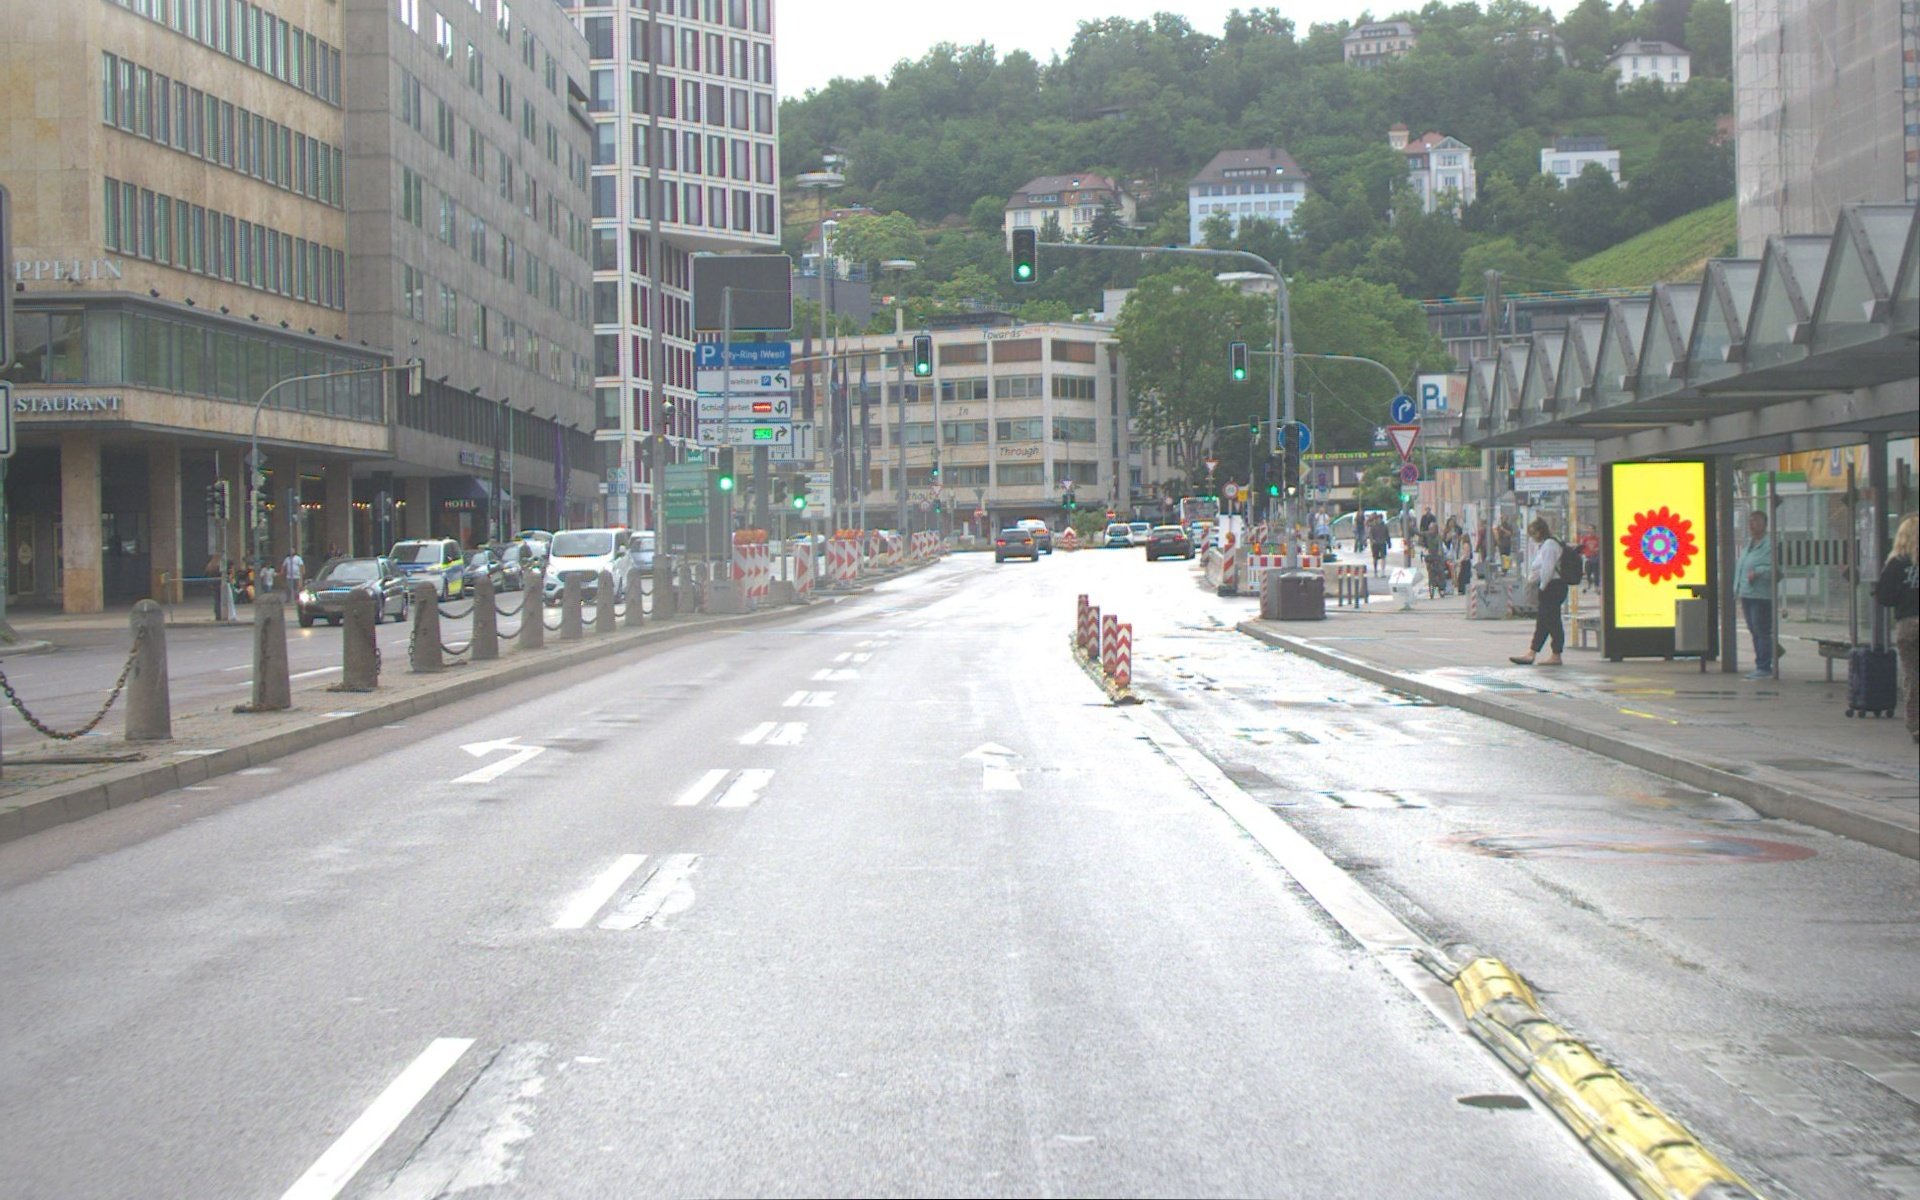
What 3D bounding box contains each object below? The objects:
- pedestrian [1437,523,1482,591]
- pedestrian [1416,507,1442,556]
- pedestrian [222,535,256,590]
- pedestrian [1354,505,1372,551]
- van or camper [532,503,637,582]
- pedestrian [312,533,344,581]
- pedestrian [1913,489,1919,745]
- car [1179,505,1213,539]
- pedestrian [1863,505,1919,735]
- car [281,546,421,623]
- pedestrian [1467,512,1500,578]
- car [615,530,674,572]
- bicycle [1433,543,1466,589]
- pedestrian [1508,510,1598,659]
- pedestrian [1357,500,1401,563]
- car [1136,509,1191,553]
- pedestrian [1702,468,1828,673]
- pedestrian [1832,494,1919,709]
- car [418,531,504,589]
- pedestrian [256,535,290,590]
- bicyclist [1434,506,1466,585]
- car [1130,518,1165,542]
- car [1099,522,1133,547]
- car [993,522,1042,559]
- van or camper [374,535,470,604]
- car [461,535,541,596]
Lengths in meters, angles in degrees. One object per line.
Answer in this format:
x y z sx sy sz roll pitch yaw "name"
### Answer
12.064 -1.040 82.982 0.796 1.602 0.834 -1 1 31 "pedestrian"
17.731 -2.599 129.990 0.946 1.835 0.867 -1 1 8 "pedestrian"
-20.788 -1.078 99.192 0.721 1.552 0.905 -1 1 3 "pedestrian"
16.210 -2.909 138.129 0.688 1.835 0.614 -1 1 7 "pedestrian"
-9.950 -1.515 91.451 1.994 2.007 5.189 0 1 2 "van or camper"
-20.471 -1.397 111.310 0.795 1.521 0.916 -1 1 4 "pedestrian"
6.713 0.111 22.391 0.762 1.687 0.822 -1 1 -1 "pedestrian"
13.161 -4.333 192.104 1.776 1.634 3.999 -2 -2 3 "car"
6.600 0.125 23.734 0.521 1.560 0.729 -1 1 -1 "pedestrian"
-13.449 -0.363 76.179 1.994 1.611 4.977 -1 1 3 "car"
14.700 -1.543 96.523 0.865 1.835 0.797 -1 1 12 "pedestrian"
-12.331 -1.912 134.705 1.768 1.603 4.226 -1 1 2 "car"
11.467 -0.800 80.538 0.707 1.046 1.806 0 2 6 "bicycle"
6.759 -0.184 39.189 0.701 1.673 0.723 -1 1 -27 "pedestrian"
12.420 -2.022 101.898 0.948 1.835 0.945 -1 1 32 "pedestrian"
8.296 -2.808 140.426 1.993 1.700 4.000 -1 1 1 "car"
8.161 -0.308 34.848 0.802 2.043 0.926 0 1 -40 "pedestrian"
7.347 0.007 26.937 0.808 1.654 0.804 1 1 0 "pedestrian"
-16.076 -1.306 110.951 1.994 1.831 4.000 -1 1 3 "car"
-19.808 -1.082 99.131 0.721 1.552 0.895 -1 1 3 "pedestrian"
11.478 -1.267 80.552 0.703 1.838 0.967 0 1 7 "bicyclist"
11.758 -4.386 215.544 1.993 1.437 4.000 1 1 0 "car"
9.013 -3.789 198.713 1.819 1.437 4.000 1 1 1 "car"
2.497 -2.590 149.199 1.993 1.546 4.000 -1 1 0 "car"
-16.330 -0.938 104.537 1.993 2.007 4.965 -1 1 2 "van or camper"
-15.667 -1.186 117.467 1.994 2.007 4.000 -1 1 3 "car"
